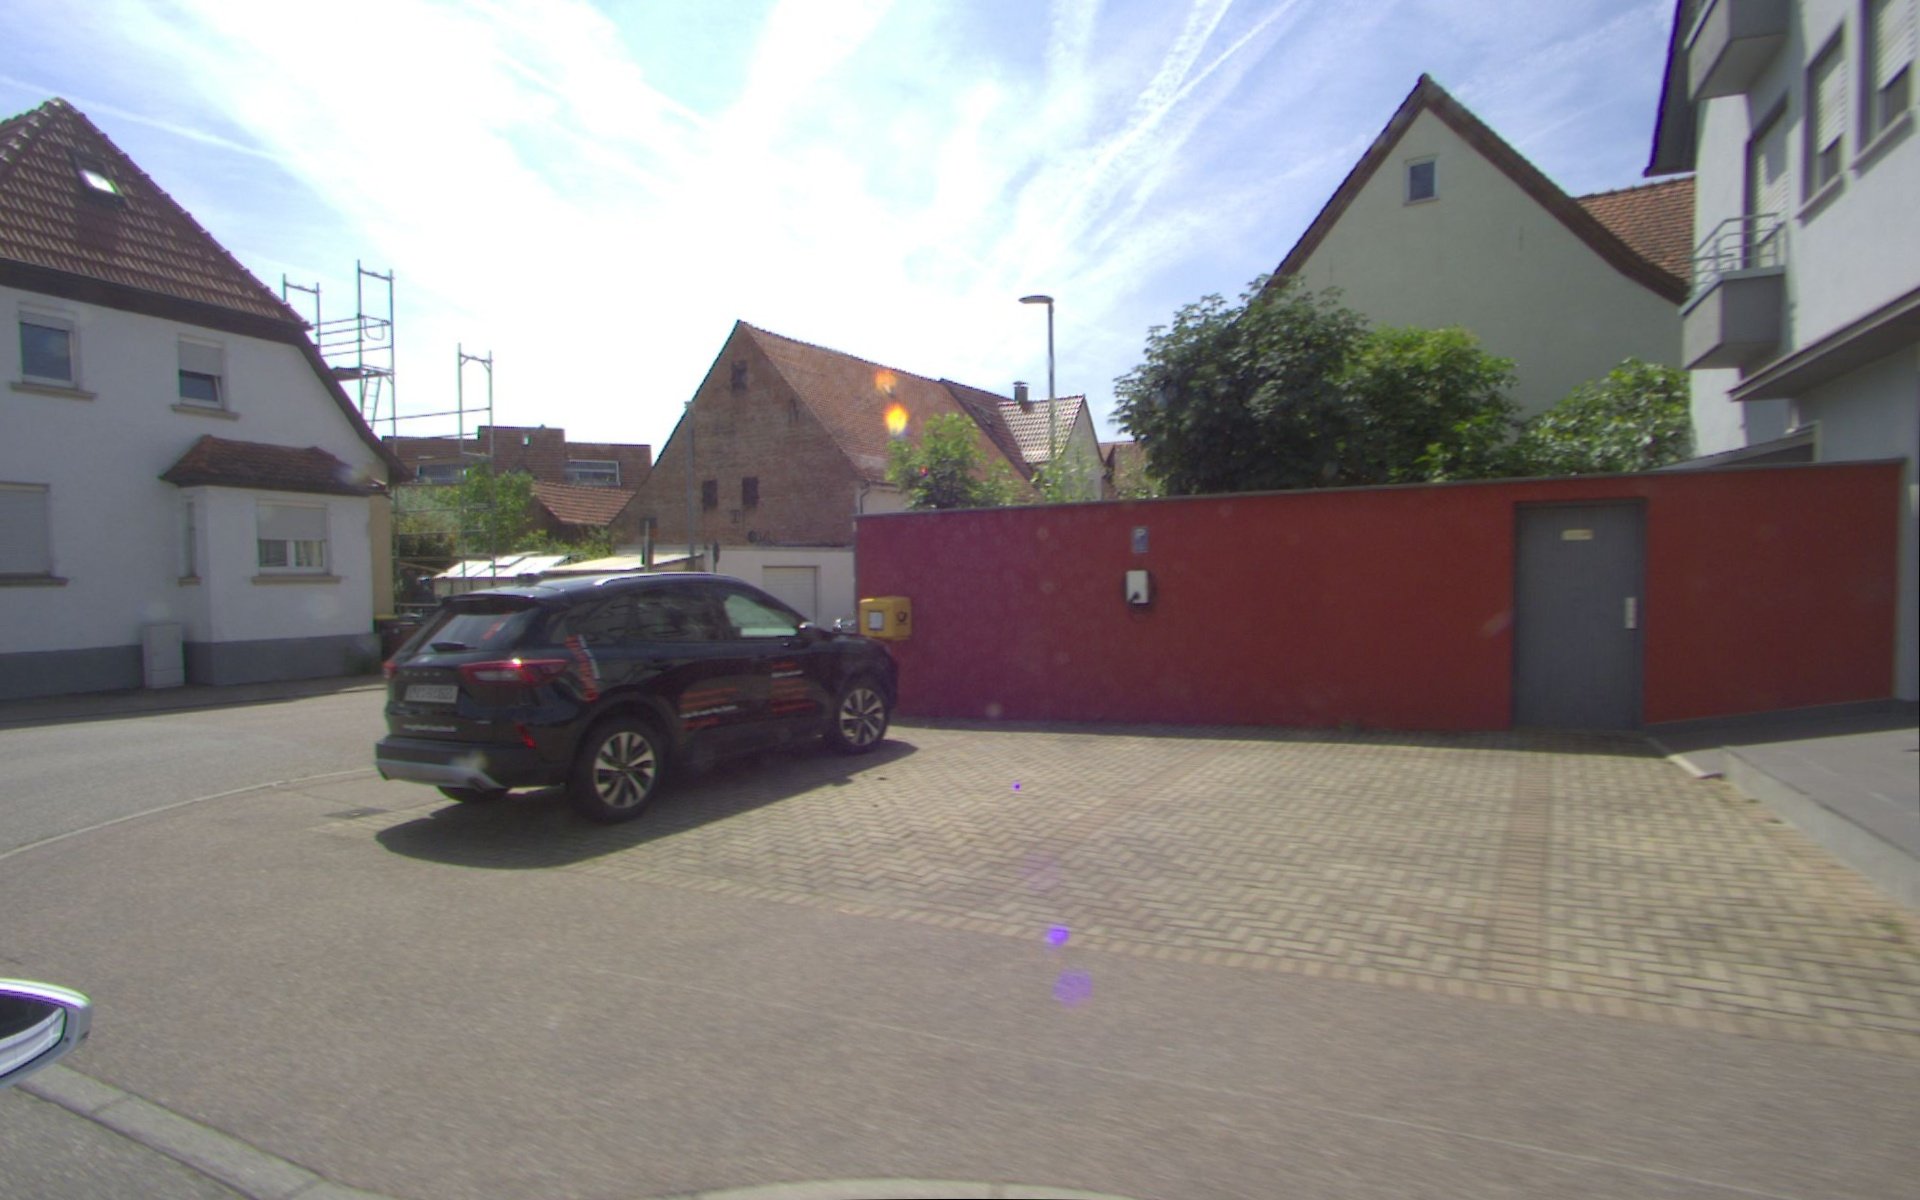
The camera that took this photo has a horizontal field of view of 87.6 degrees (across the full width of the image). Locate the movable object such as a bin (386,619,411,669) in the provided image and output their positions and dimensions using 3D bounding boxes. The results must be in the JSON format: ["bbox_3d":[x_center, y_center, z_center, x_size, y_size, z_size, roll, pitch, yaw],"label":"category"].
[{"bbox_3d":[-10.816,0.843,19.295,0.354,0.959,0.227,-1,1,20],"label":"movable object such as a bin"}]

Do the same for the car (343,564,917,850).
[{"bbox_3d":[-2.298,0.602,8.170,1.821,1.675,4.285,0,1,31],"label":"car"}]

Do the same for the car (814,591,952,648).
[{"bbox_3d":[-2.034,0.486,27.560,1.680,1.409,3.975,0,1,34],"label":"car"}]

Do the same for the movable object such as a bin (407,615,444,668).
[{"bbox_3d":[-10.477,0.812,19.633,0.284,1.005,0.585,-1,1,21],"label":"movable object such as a bin"}]

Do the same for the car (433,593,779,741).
[{"bbox_3d":[-4.279,0.705,12.728,1.670,1.524,3.978,0,1,32],"label":"car"}]
